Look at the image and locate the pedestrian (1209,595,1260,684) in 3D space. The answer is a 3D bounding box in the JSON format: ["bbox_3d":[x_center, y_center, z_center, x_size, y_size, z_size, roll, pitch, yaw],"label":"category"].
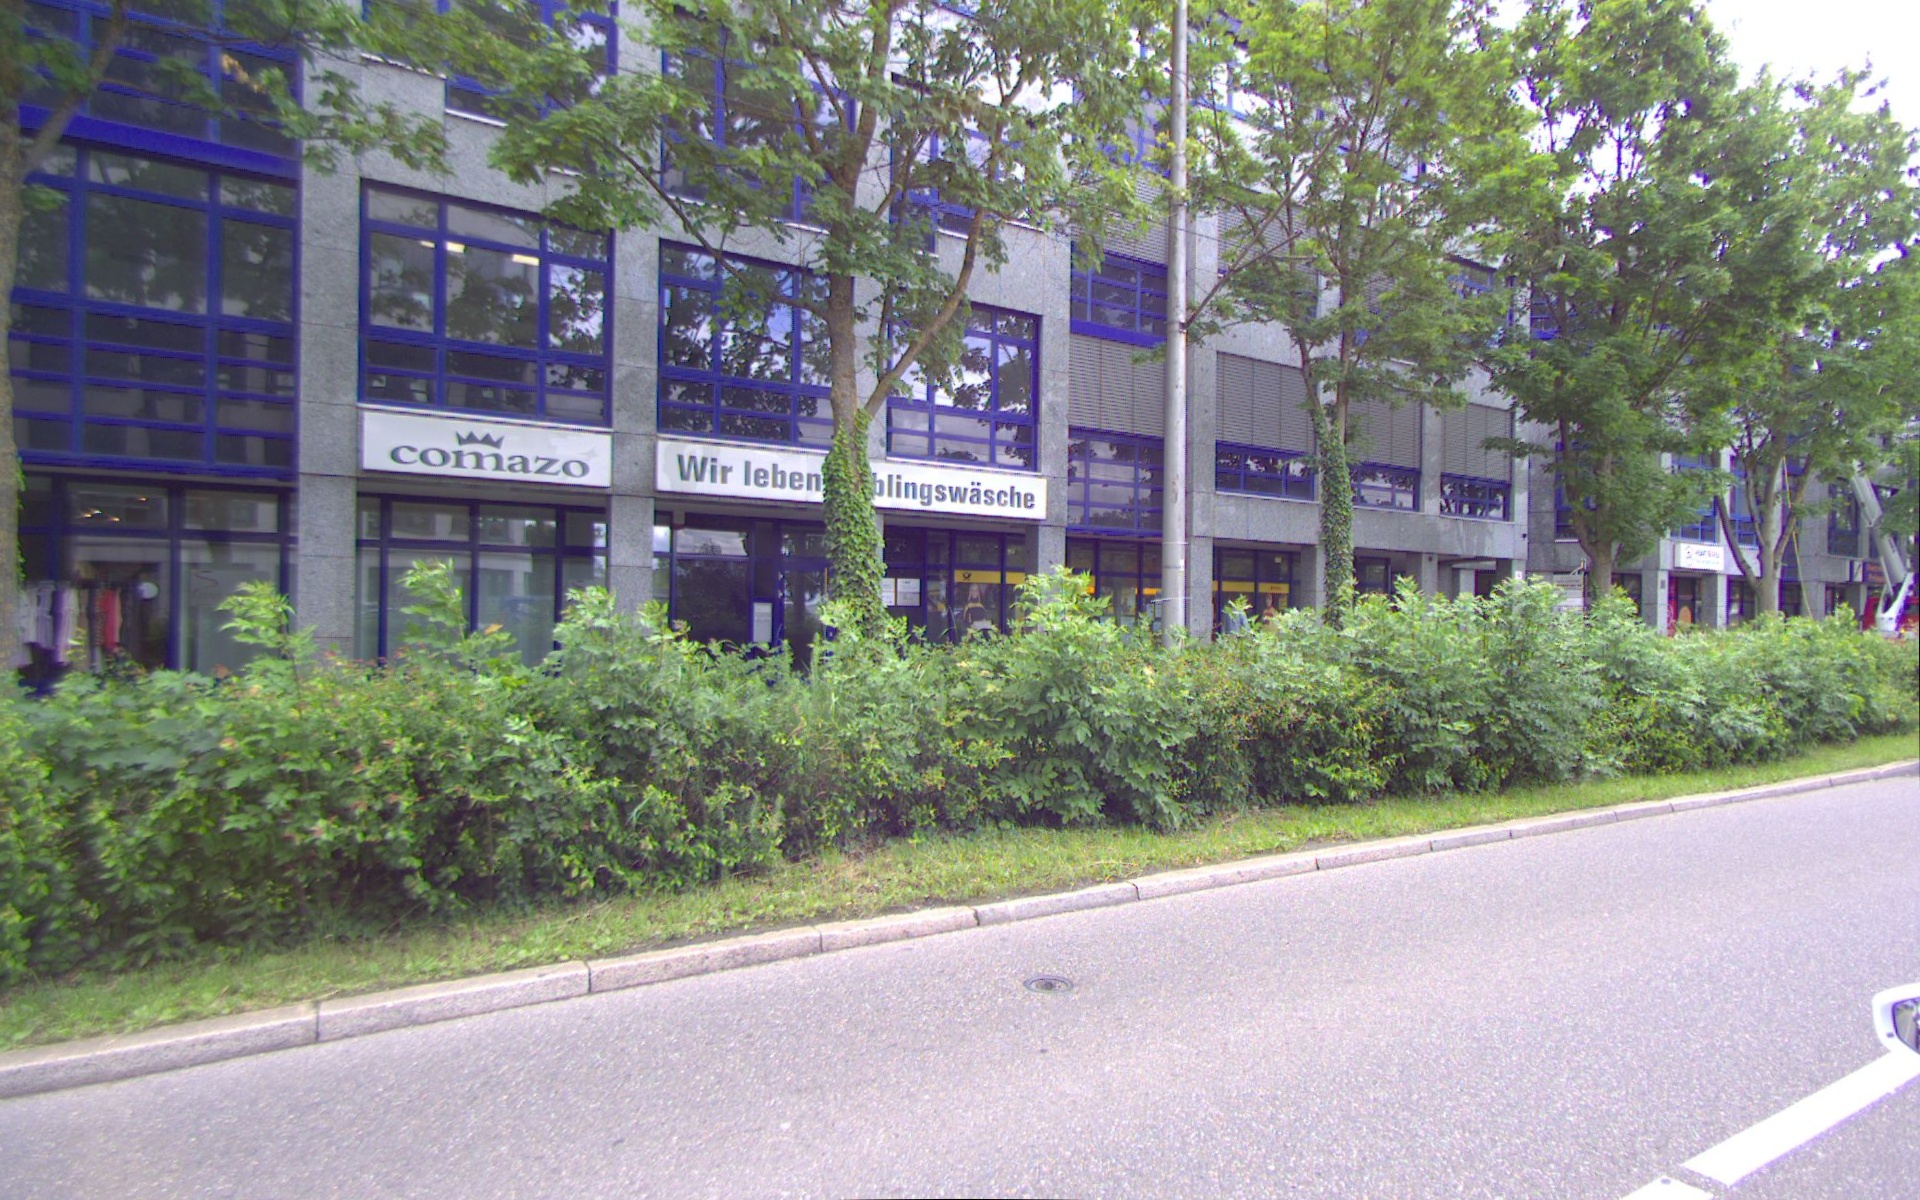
[{"bbox_3d":[6.054,0.868,22.148,0.723,1.919,0.771,2,0,-30],"label":"pedestrian"}]
